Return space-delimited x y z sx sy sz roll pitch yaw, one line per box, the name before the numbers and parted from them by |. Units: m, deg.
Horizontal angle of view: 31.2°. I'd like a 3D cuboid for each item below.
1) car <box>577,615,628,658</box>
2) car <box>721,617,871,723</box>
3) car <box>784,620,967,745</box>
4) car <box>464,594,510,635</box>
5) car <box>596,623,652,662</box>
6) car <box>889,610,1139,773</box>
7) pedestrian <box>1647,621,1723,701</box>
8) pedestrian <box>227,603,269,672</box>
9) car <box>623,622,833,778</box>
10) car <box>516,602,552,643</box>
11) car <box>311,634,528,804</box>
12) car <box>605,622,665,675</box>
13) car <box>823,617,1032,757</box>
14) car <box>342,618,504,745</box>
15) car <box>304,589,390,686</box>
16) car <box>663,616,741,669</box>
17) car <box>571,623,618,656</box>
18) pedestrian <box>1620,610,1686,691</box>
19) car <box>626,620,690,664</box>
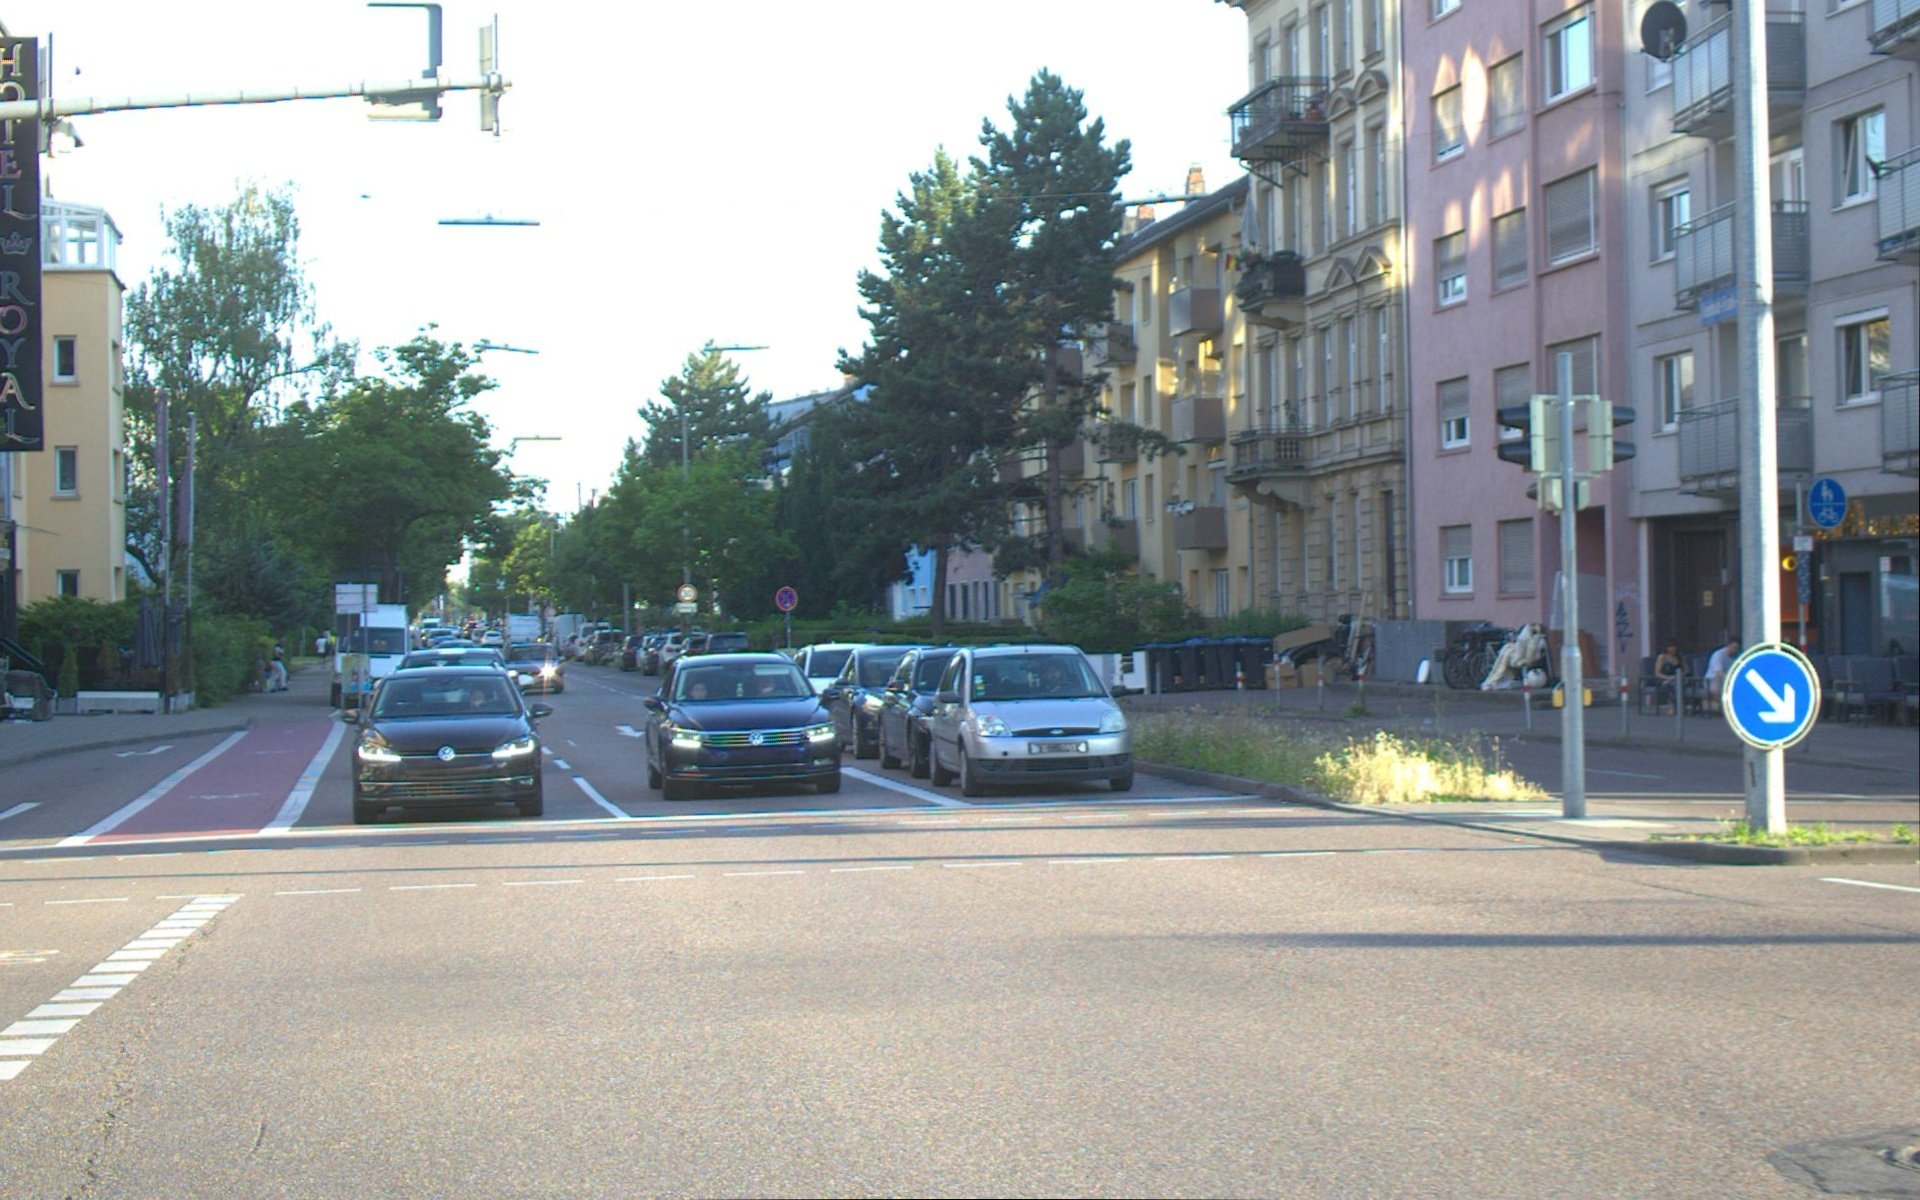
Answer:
car | -15.925 1.601 152.916 1.993 1.827 4.221 -1 0 -9
car | -2.525 1.029 52.107 1.993 1.481 4.001 -1 0 -6
car | -1.148 1.024 44.466 1.993 1.481 4.001 -1 0 -6
car | -28.329 0.873 205.818 2.616 2.368 5.256 -1 0 -9
car | -13.779 1.736 140.968 1.993 1.512 4.221 -1 0 -9
car | 0.473 0.874 34.651 1.993 1.481 4.001 -1 0 -6
pedestrian | 10.873 0.914 51.576 0.858 1.166 0.792 -1 0 -9
pedestrian | -21.174 1.117 102.209 1.023 2.007 0.945 -1 0 -23
car | -2.503 1.007 36.205 1.993 1.481 4.001 -1 0 -6
car | -25.457 1.330 205.201 1.993 2.368 4.001 -1 0 -9
car | -5.191 1.106 33.422 1.880 1.481 4.001 -1 0 -6
car | -12.624 1.855 133.390 1.993 1.990 4.221 -1 0 -9
car | -0.436 0.962 39.829 1.993 1.481 4.001 -1 0 -6
car | -7.084 1.036 45.486 1.993 1.526 4.001 -1 0 -8
car | -15.309 0.911 86.080 1.993 2.316 4.221 -1 0 -9
car | -7.828 1.269 104.015 1.993 1.512 4.221 -1 0 -9
car | -17.486 1.869 164.166 1.993 1.512 4.221 -1 0 -9
pedestrian | 10.833 0.784 53.750 0.710 1.252 0.793 -1 0 -13
car | -10.948 1.505 124.351 1.993 1.512 4.221 -1 0 -9
